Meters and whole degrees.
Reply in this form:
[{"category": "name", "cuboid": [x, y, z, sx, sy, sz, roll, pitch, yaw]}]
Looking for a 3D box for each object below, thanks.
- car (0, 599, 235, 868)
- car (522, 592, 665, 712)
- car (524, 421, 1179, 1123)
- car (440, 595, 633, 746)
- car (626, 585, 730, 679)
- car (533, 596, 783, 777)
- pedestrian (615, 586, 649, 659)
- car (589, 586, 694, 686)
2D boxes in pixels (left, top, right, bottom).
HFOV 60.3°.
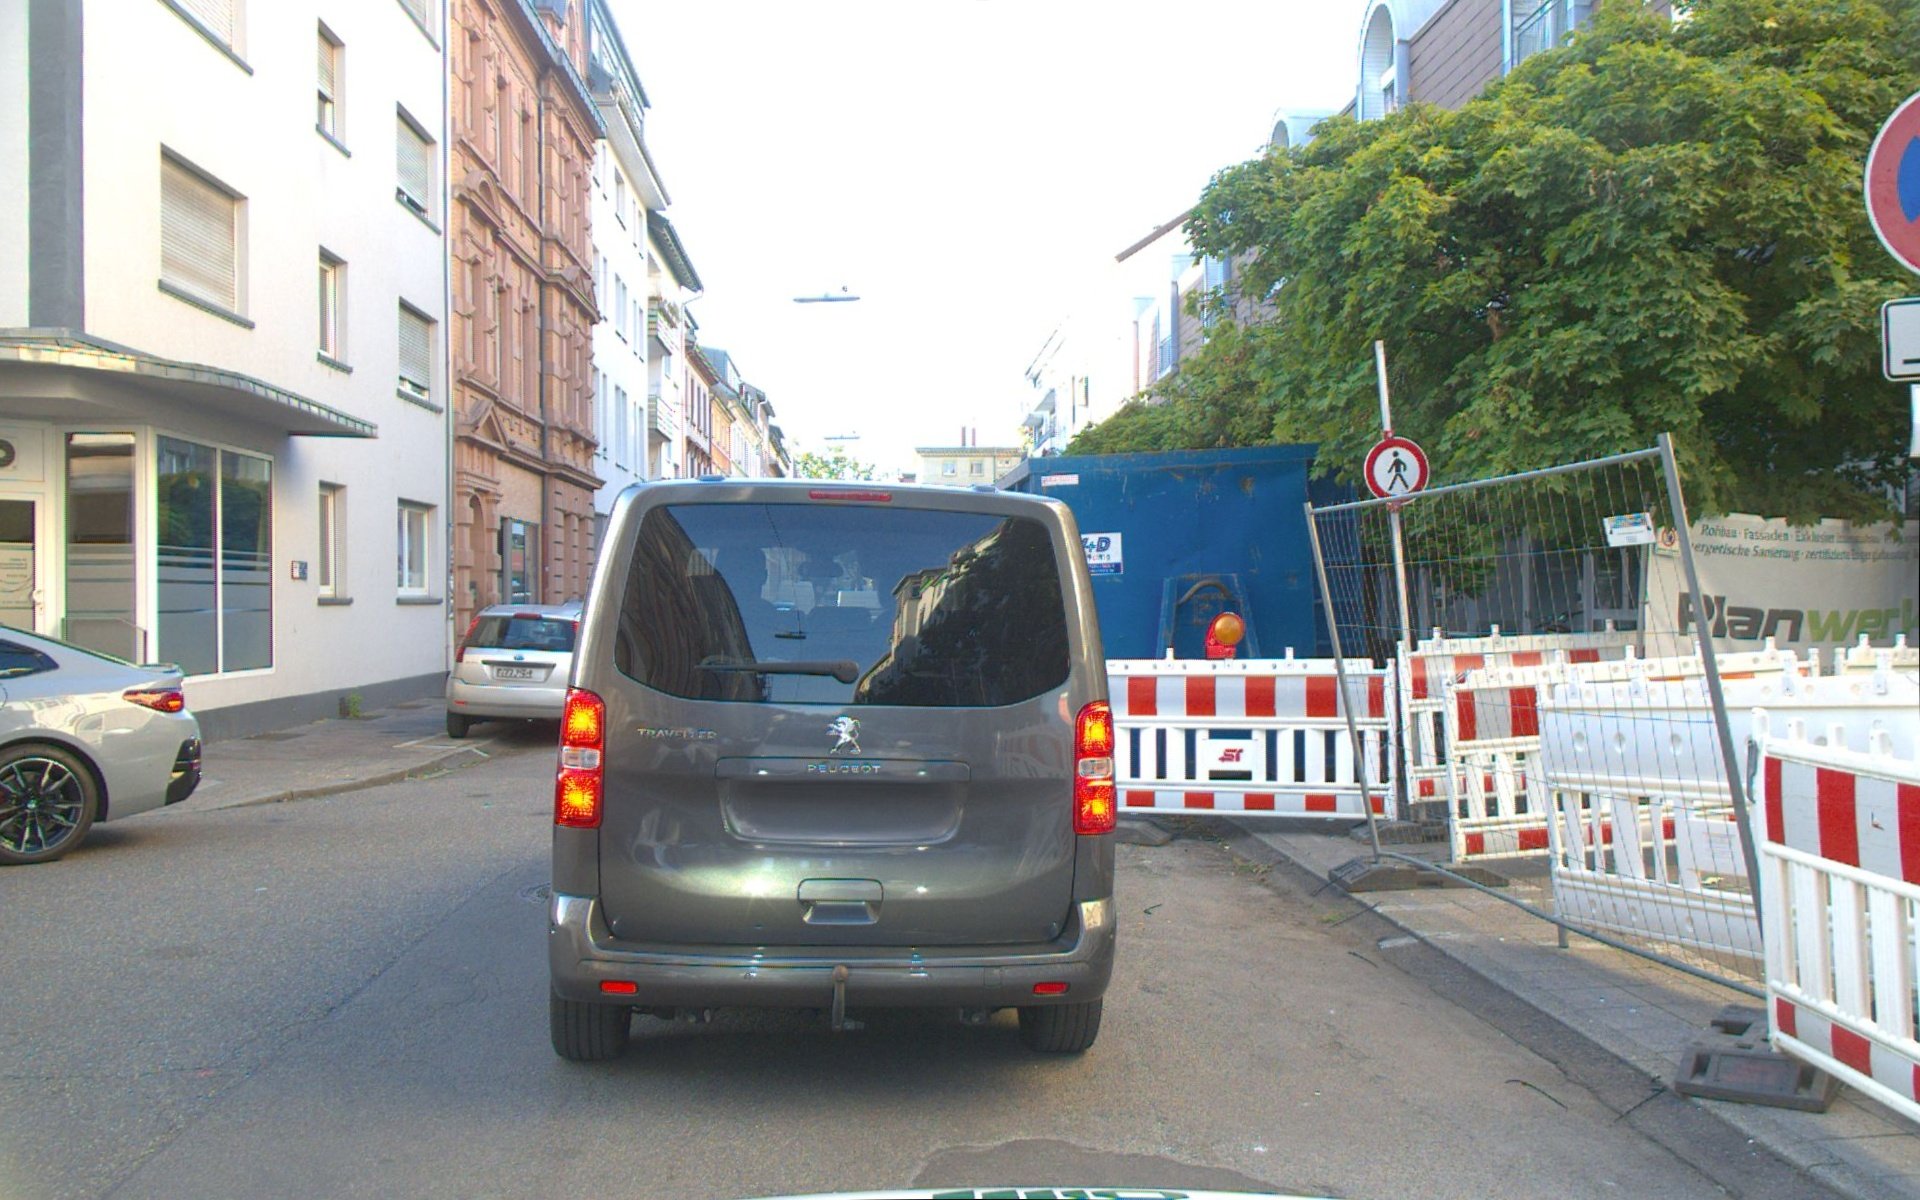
[{"category": "car", "cuboid": [-6.783, 0.754, 9.152, 4.767, 1.477, 1.905, -1, 0, -41]}, {"category": "car", "cuboid": [-5.353, 0.735, 24.498, 1.625, 1.552, 3.413, 4, -1, -7]}, {"category": "car", "cuboid": [-0.522, 0.495, 6.753, 1.829, 1.919, 4.229, 0, -1, -7]}, {"category": "car", "cuboid": [-4.810, 0.764, 19.197, 1.625, 1.485, 3.413, 4, -1, -7]}, {"category": "car", "cuboid": [-5.938, 0.664, 35.217, 1.856, 1.749, 3.748, 4, -1, -7]}, {"category": "car", "cuboid": [-2.734, 0.765, 15.662, 1.622, 1.486, 3.418, -1, -1, 2]}, {"category": "pedestrian", "cuboid": [-7.744, 0.516, 39.061, 0.726, 1.693, 0.702, -1, 0, -8]}, {"category": "car", "cuboid": [-6.026, 0.673, 31.570, 1.635, 1.695, 3.087, 4, -1, -7]}]
